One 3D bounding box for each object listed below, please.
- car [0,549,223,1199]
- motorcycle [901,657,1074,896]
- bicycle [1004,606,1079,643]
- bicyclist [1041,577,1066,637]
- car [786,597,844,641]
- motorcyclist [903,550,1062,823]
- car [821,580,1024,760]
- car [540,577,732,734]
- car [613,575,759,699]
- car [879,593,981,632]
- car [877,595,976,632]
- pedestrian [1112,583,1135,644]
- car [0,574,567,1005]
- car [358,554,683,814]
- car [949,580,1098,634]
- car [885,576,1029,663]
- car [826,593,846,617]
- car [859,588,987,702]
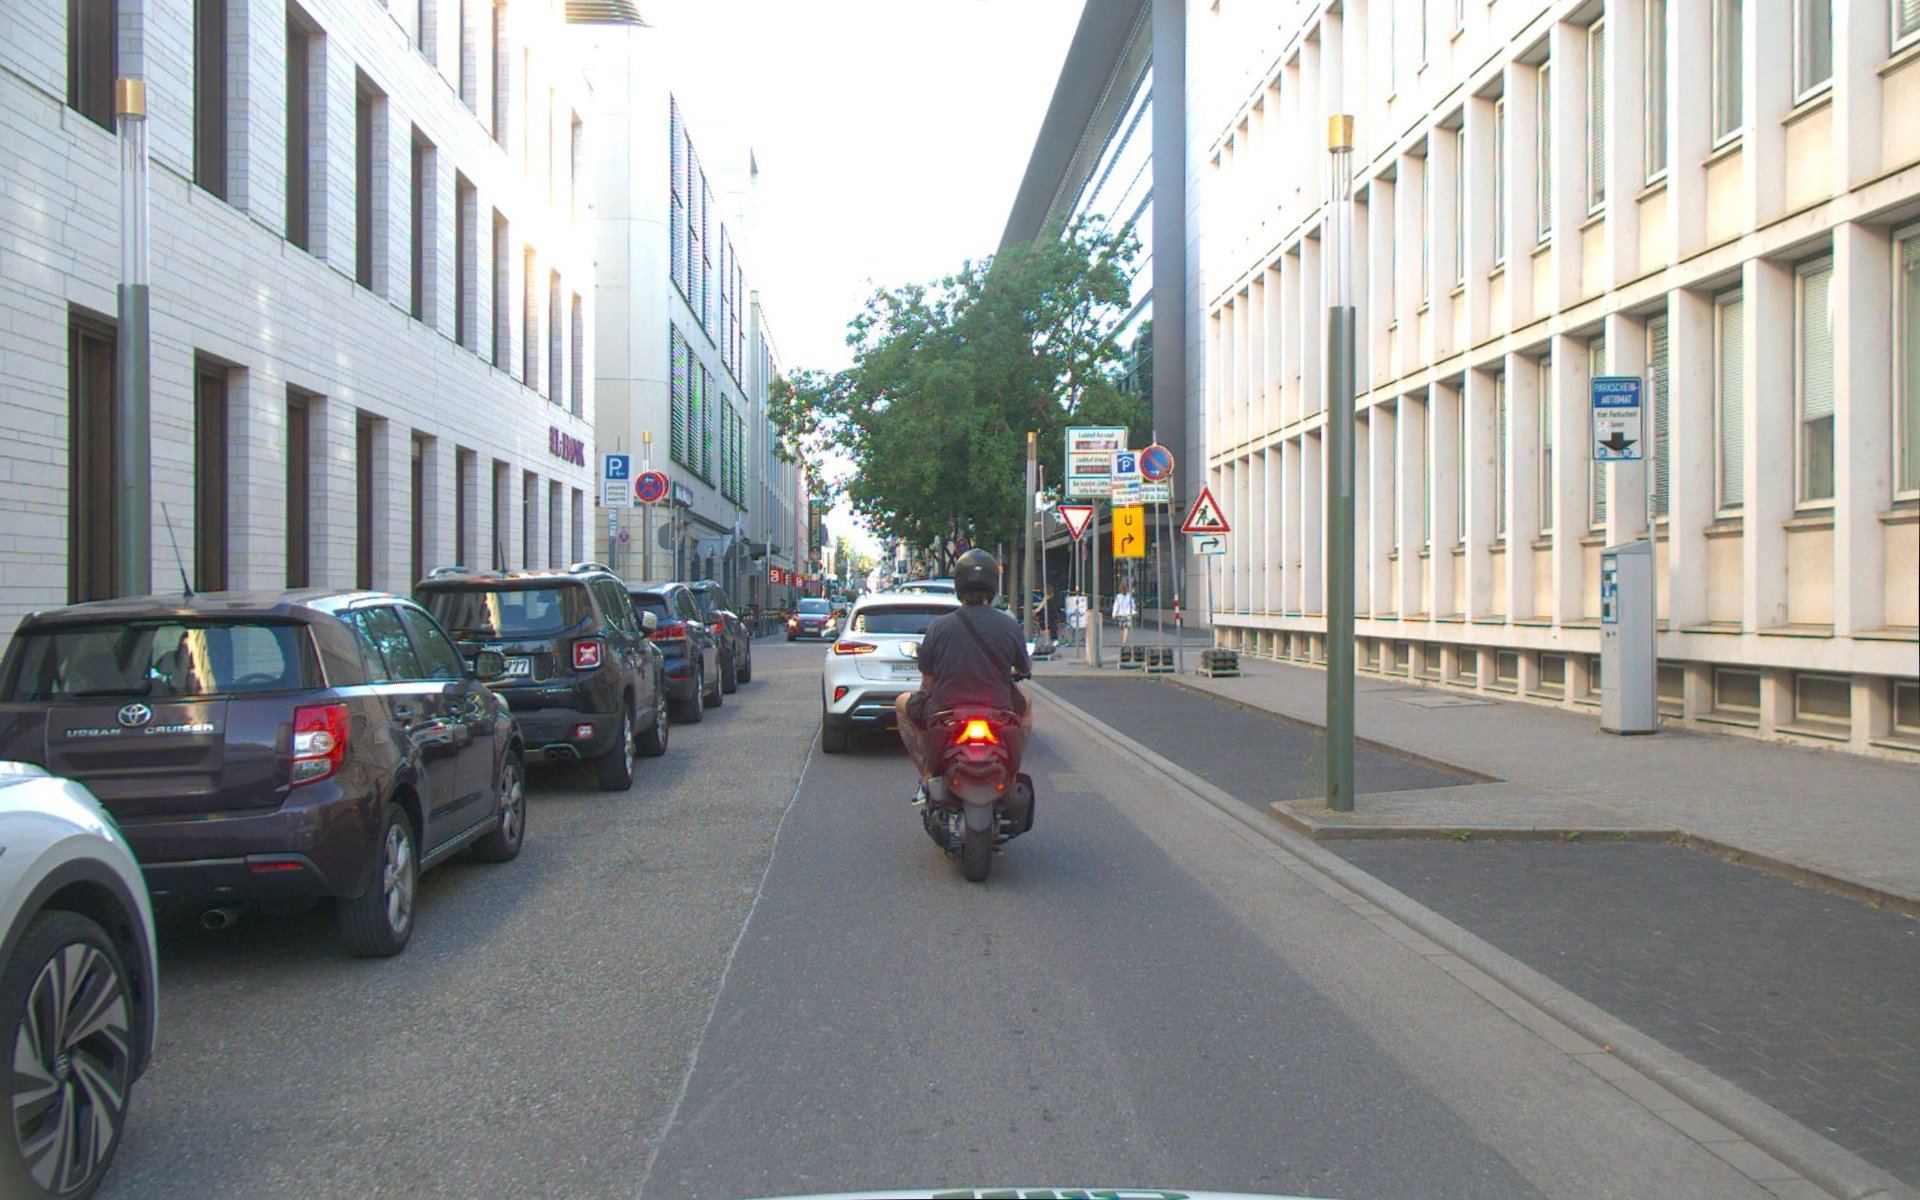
[{"bbox_3d":[-2.887,0.669,2.389,1.786,1.568,4.444,1,1,-3],"label":"car"},{"bbox_3d":[0.106,0.898,9.070,0.855,1.129,1.839,0,-1,-2],"label":"motorcycle"},{"bbox_3d":[2.283,0.682,46.254,2.057,1.012,0.519,0,-1,12],"label":"bicycle"},{"bbox_3d":[2.616,0.198,46.187,0.616,1.654,0.498,0,-1,15],"label":"bicyclist"},{"bbox_3d":[-5.231,0.718,60.286,1.785,1.491,4.262,-1,-2,-1],"label":"car"},{"bbox_3d":[0.115,0.464,9.079,0.849,1.452,0.455,0,-1,-2],"label":"motorcyclist"},{"bbox_3d":[-0.468,0.600,16.803,1.786,1.568,4.260,-1,1,-4],"label":"car"},{"bbox_3d":[-3.827,0.585,20.169,1.705,1.622,4.151,-3,1,-4],"label":"car"},{"bbox_3d":[-4.222,0.511,26.042,1.786,1.707,4.260,-3,1,-4],"label":"car"},{"bbox_3d":[-1.507,0.638,83.004,4.909,1.525,1.998,-5,0,-6],"label":"car"},{"bbox_3d":[-1.750,0.689,85.463,4.909,1.525,1.998,-5,0,-6],"label":"car"},{"bbox_3d":[4.314,0.355,43.678,0.548,1.611,0.598,0,-1,-1],"label":"pedestrian"},{"bbox_3d":[-3.232,0.676,8.227,1.786,1.568,4.260,-1,1,-4],"label":"car"},{"bbox_3d":[-3.435,0.569,13.697,1.786,1.744,4.015,-3,1,-4],"label":"car"},{"bbox_3d":[2.178,0.242,57.889,4.909,1.477,1.998,-5,0,-6],"label":"car"},{"bbox_3d":[0.018,0.388,36.901,1.784,1.674,4.496,-2,1,19],"label":"car"},{"bbox_3d":[-12.786,0.512,170.591,1.955,2.370,5.015,1,0,-5],"label":"car"},{"bbox_3d":[-0.671,0.639,26.510,1.786,1.568,4.361,-3,1,-4],"label":"car"}]
